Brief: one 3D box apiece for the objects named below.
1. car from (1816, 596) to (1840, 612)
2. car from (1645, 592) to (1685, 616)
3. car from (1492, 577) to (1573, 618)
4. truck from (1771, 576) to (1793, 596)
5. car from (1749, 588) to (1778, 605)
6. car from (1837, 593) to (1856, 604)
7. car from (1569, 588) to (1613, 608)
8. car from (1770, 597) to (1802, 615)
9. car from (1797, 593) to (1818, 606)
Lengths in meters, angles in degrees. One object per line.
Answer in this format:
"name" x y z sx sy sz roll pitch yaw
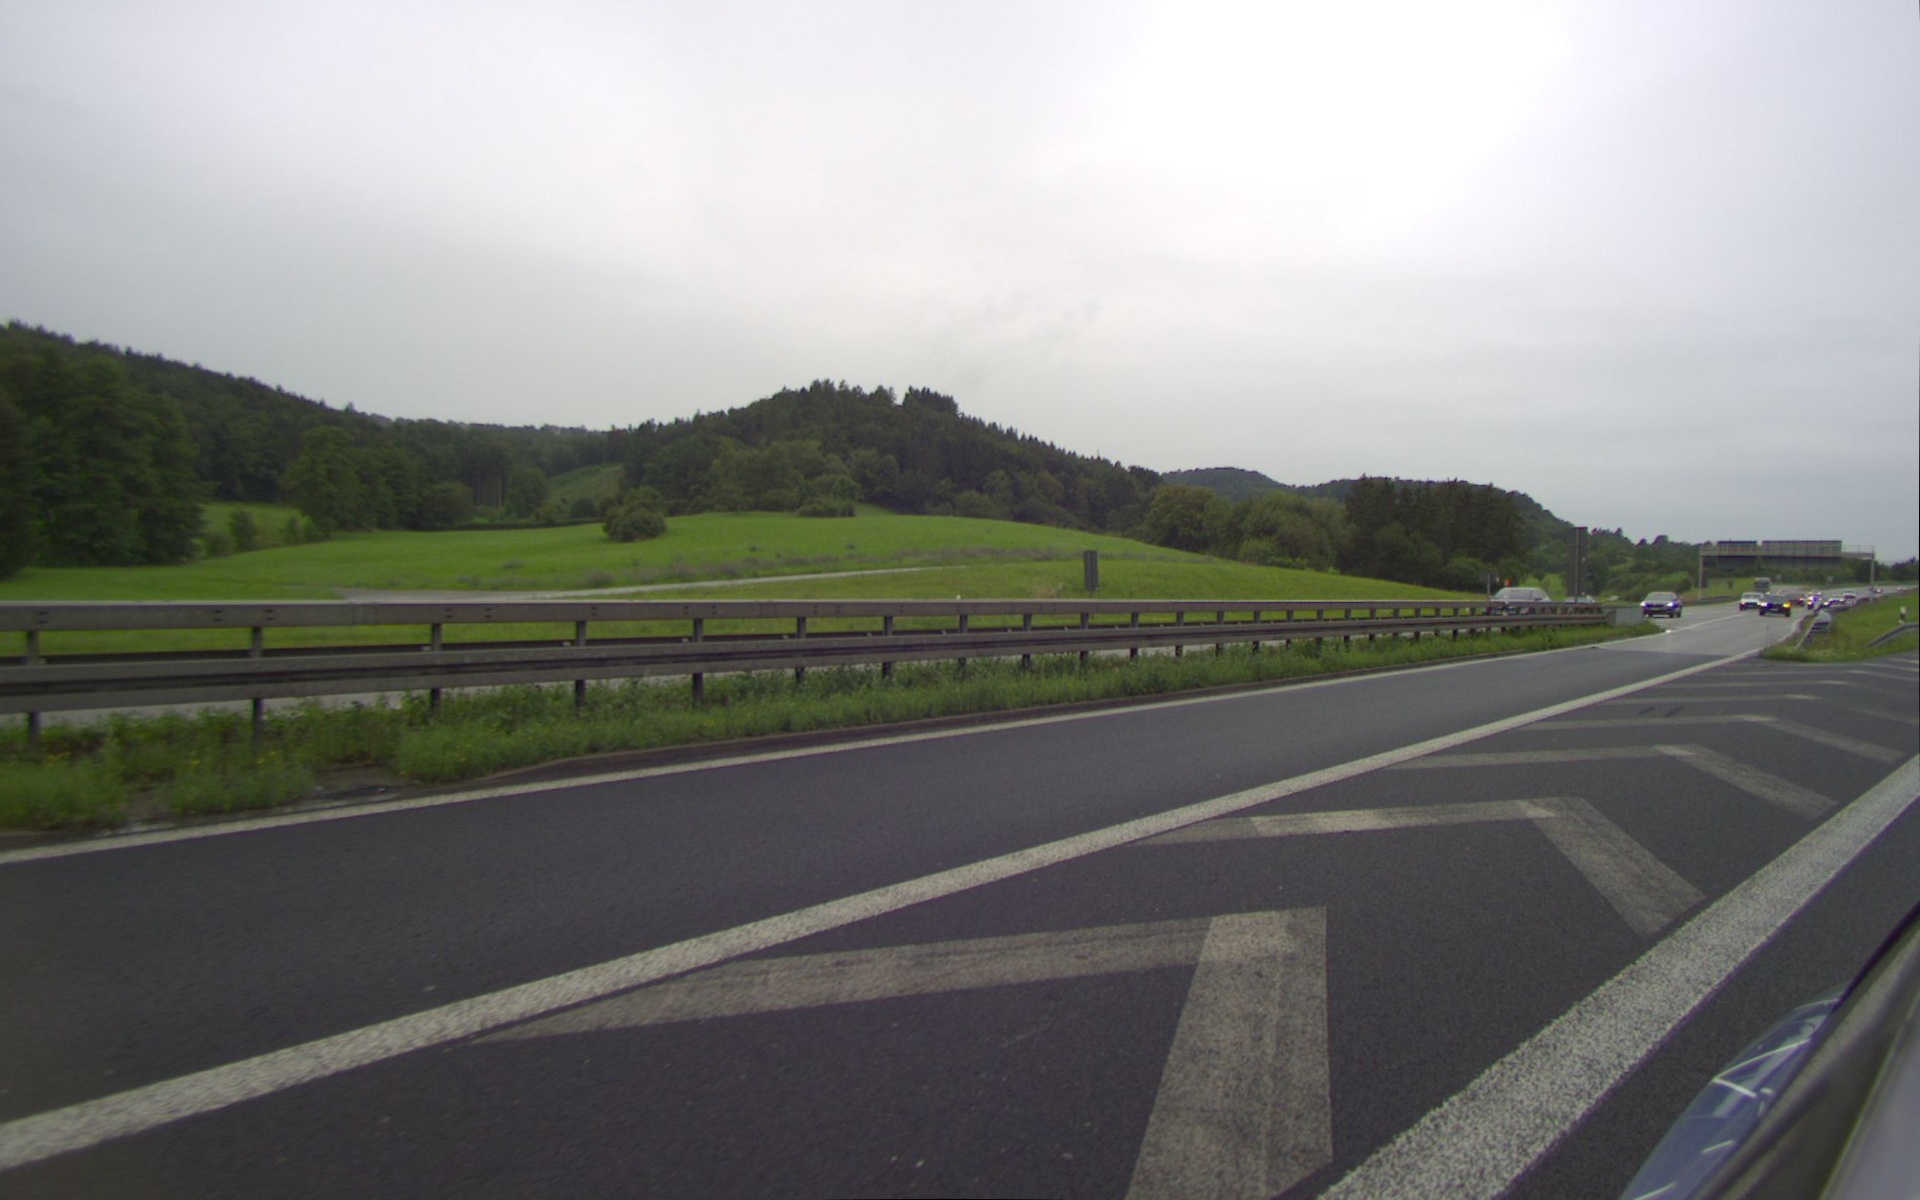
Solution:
"car" 102.876 0.450 119.890 1.909 1.715 4.643 0 1 44
"car" 44.796 0.231 64.299 1.665 1.400 4.065 0 1 41
"car" 24.162 -0.114 42.641 4.566 1.630 1.771 -1 1 -44
"truck" 161.725 -2.743 199.059 2.791 3.950 9.872 0 1 43
"car" 82.840 -0.338 104.348 1.909 1.715 4.644 0 1 44
"car" 136.319 -0.222 155.603 1.909 1.715 4.643 0 1 44
"car" 48.460 -0.185 77.652 1.899 1.473 4.634 0 1 45
"car" 65.755 0.473 80.552 1.861 1.374 4.499 0 1 41
"car" 115.367 -0.115 137.763 1.909 1.715 4.643 0 1 44
